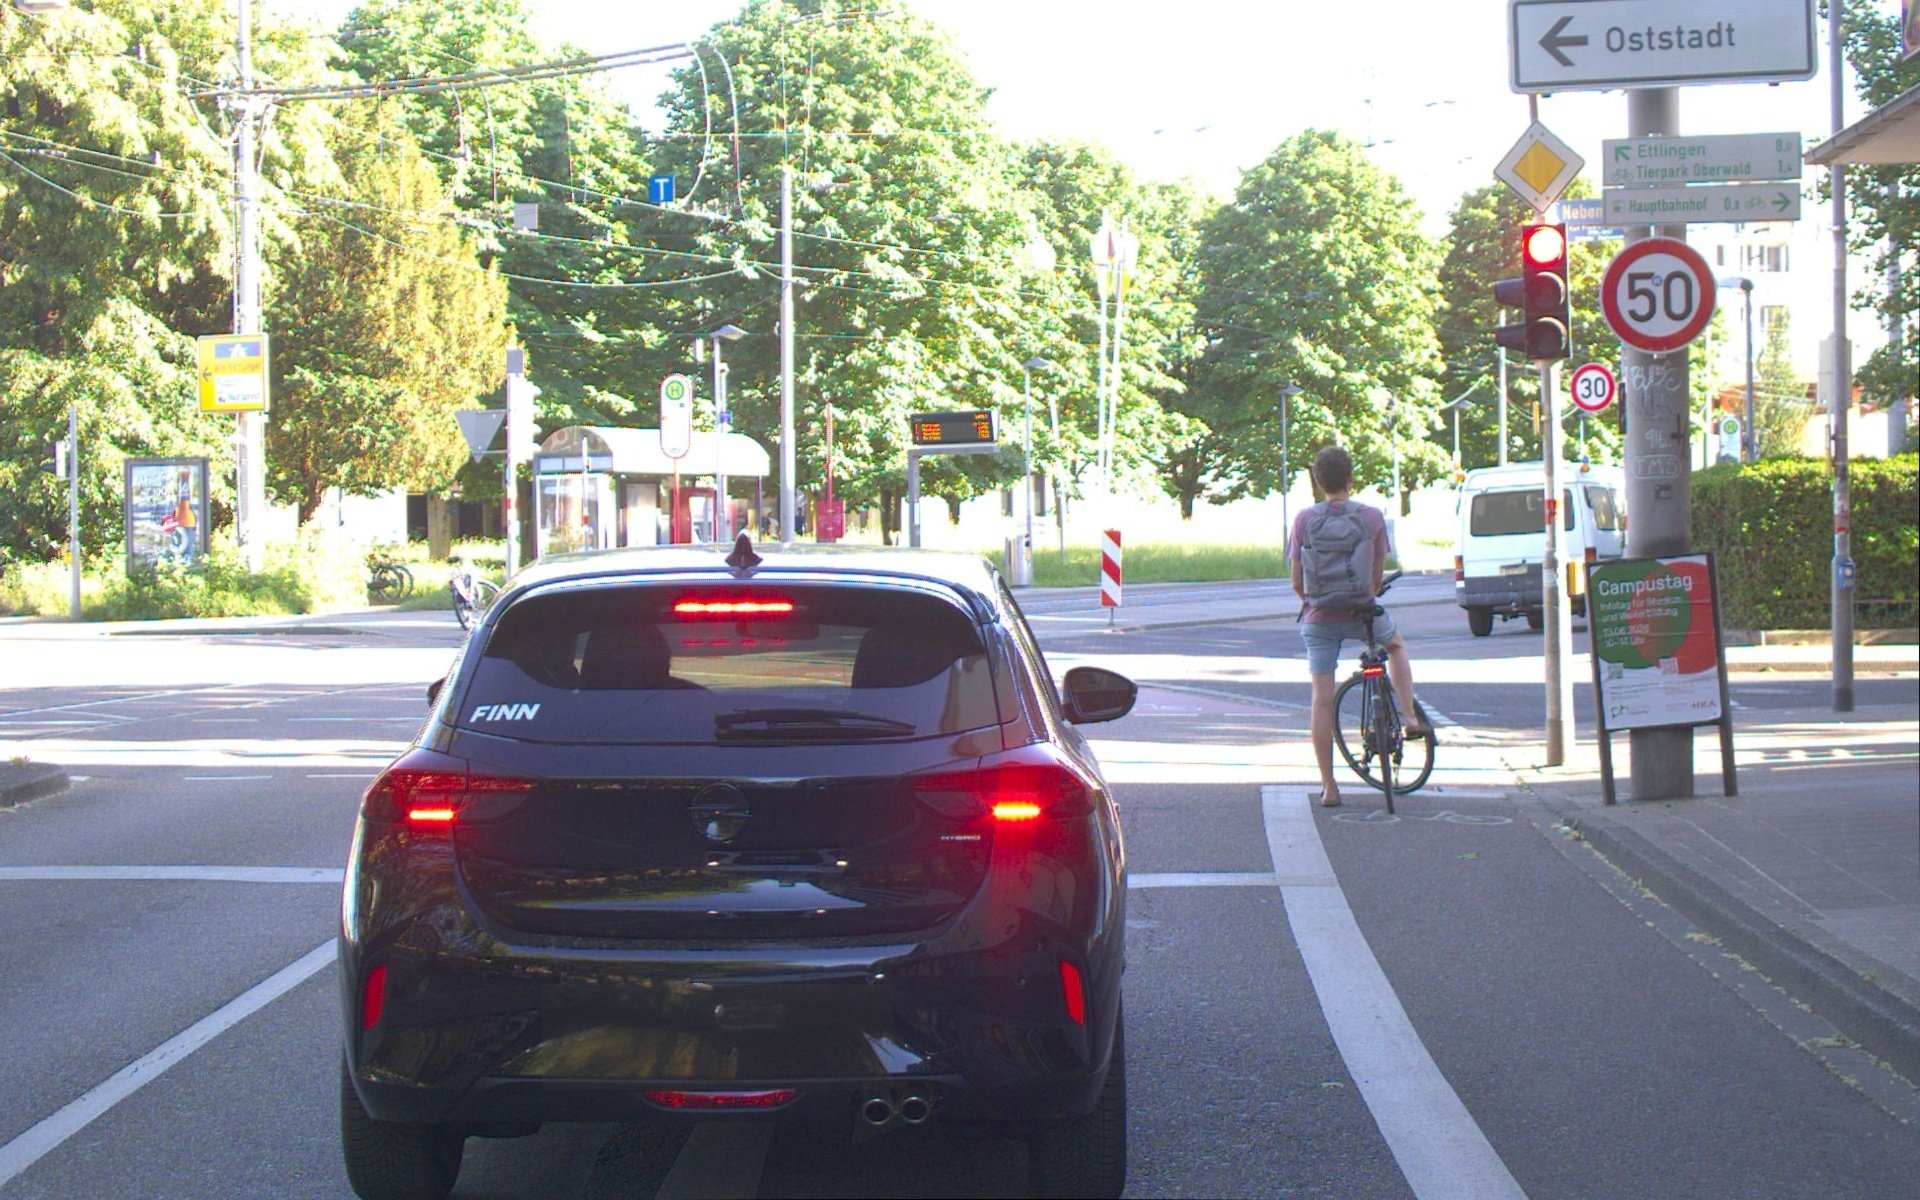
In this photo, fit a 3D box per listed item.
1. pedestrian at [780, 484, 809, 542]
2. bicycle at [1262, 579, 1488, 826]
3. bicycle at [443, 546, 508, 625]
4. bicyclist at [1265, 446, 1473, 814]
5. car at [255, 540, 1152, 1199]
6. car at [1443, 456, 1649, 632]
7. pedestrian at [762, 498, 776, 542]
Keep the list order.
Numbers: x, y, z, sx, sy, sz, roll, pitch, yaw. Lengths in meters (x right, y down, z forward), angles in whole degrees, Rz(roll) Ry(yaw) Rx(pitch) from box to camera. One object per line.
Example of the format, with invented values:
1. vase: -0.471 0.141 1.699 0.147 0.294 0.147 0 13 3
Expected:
1. pedestrian: -5.721 -2.998 118.847 0.917 1.974 0.992 1 1 -6
2. bicycle: 2.118 0.494 17.823 0.860 1.149 2.172 -1 1 -1
3. bicycle: -6.544 -0.209 46.489 0.605 1.028 1.982 0 1 -1
4. bicyclist: 2.110 0.142 17.825 0.941 1.845 0.864 -1 1 -1
5. car: -0.512 0.575 8.746 1.727 1.424 4.187 0 1 0
6. car: 7.982 -0.775 46.469 2.065 2.241 4.883 0 1 18
7. pedestrian: -6.146 -2.576 110.614 0.412 1.408 0.436 1 0 -1
